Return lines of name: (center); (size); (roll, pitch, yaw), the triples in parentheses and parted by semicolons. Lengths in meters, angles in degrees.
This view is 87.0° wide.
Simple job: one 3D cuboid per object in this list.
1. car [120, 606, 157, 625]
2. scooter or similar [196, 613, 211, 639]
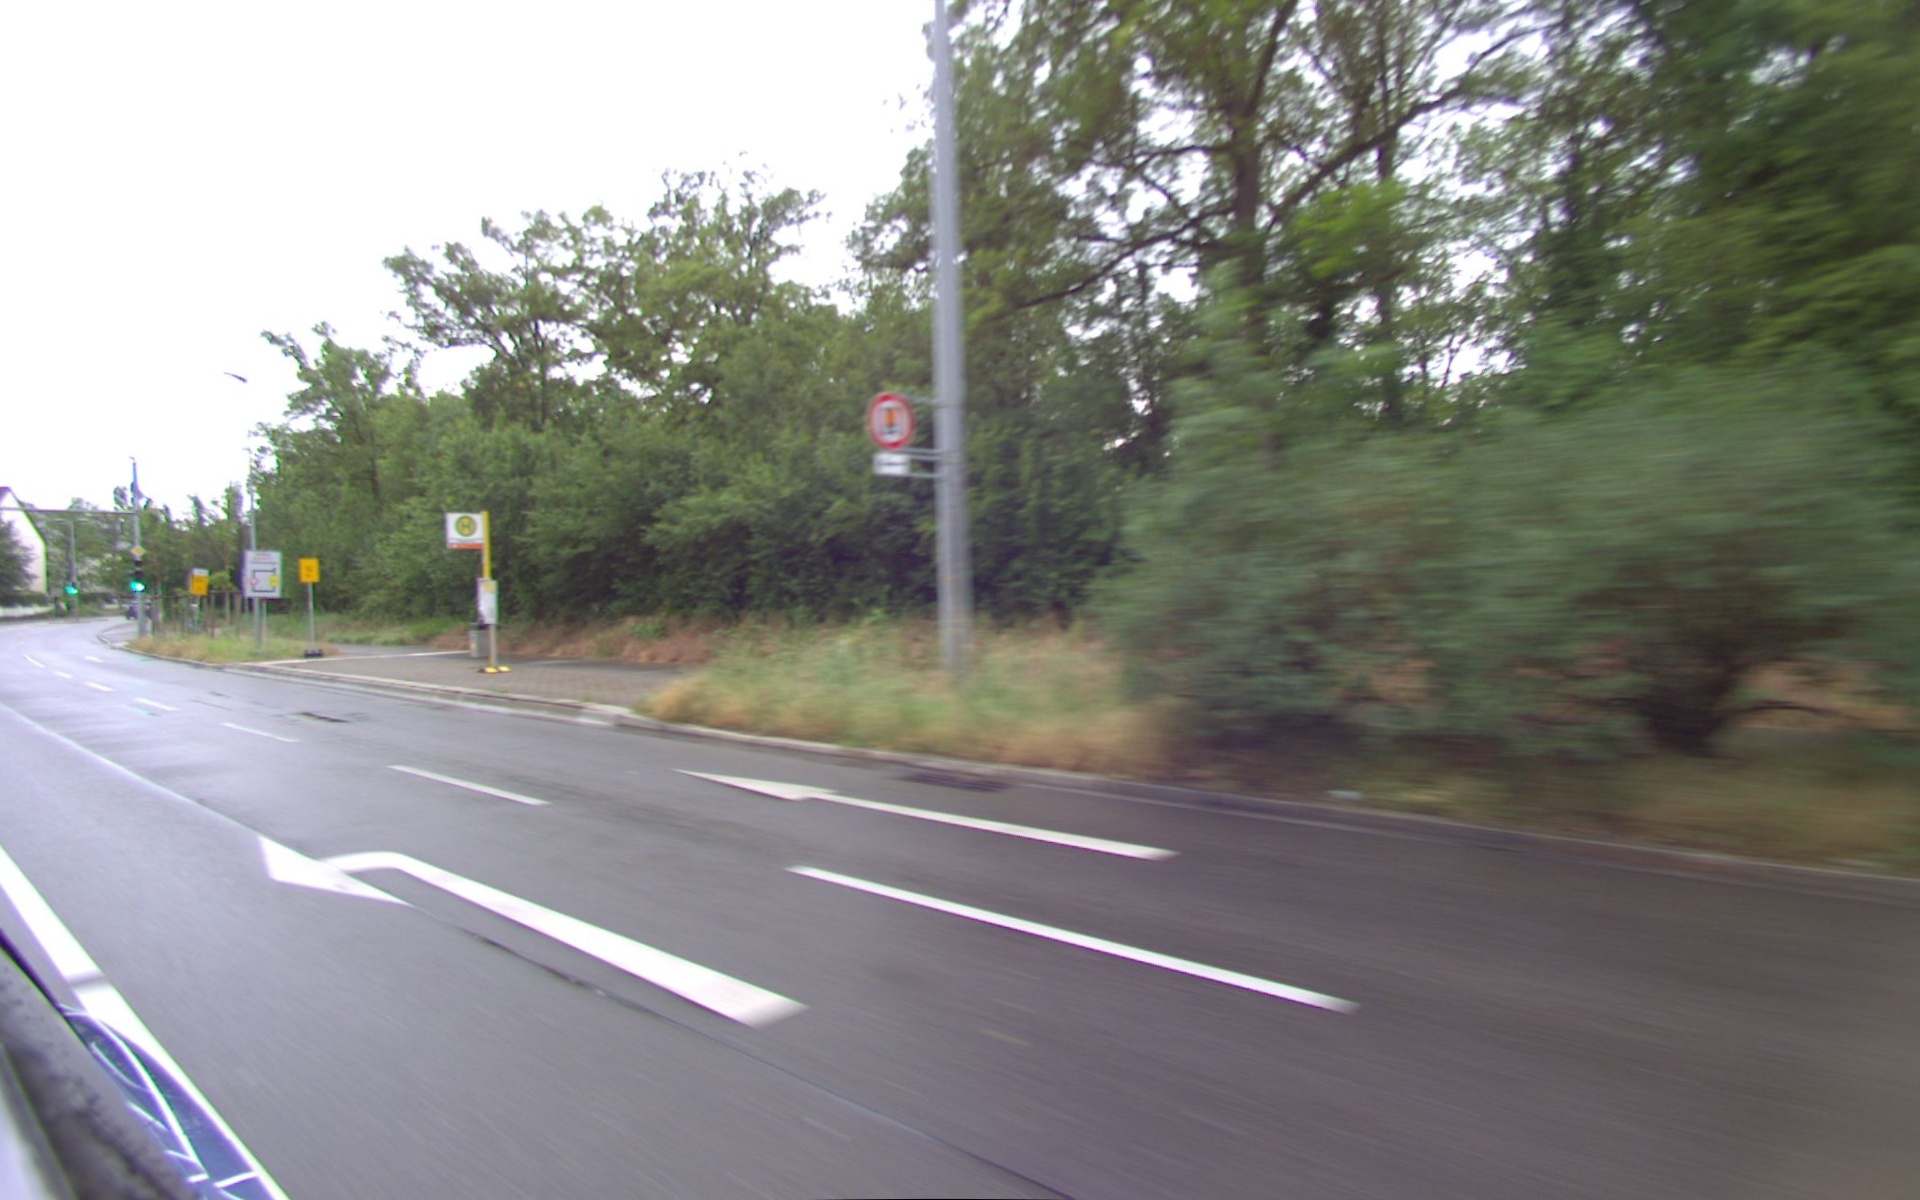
car: (-72.877, 1.378, 89.867); (1.764, 1.593, 4.575); (-1, 0, -29)
scooter or similar: (-37.712, 1.278, 50.435); (0.511, 1.221, 1.472); (-2, 1, -38)
